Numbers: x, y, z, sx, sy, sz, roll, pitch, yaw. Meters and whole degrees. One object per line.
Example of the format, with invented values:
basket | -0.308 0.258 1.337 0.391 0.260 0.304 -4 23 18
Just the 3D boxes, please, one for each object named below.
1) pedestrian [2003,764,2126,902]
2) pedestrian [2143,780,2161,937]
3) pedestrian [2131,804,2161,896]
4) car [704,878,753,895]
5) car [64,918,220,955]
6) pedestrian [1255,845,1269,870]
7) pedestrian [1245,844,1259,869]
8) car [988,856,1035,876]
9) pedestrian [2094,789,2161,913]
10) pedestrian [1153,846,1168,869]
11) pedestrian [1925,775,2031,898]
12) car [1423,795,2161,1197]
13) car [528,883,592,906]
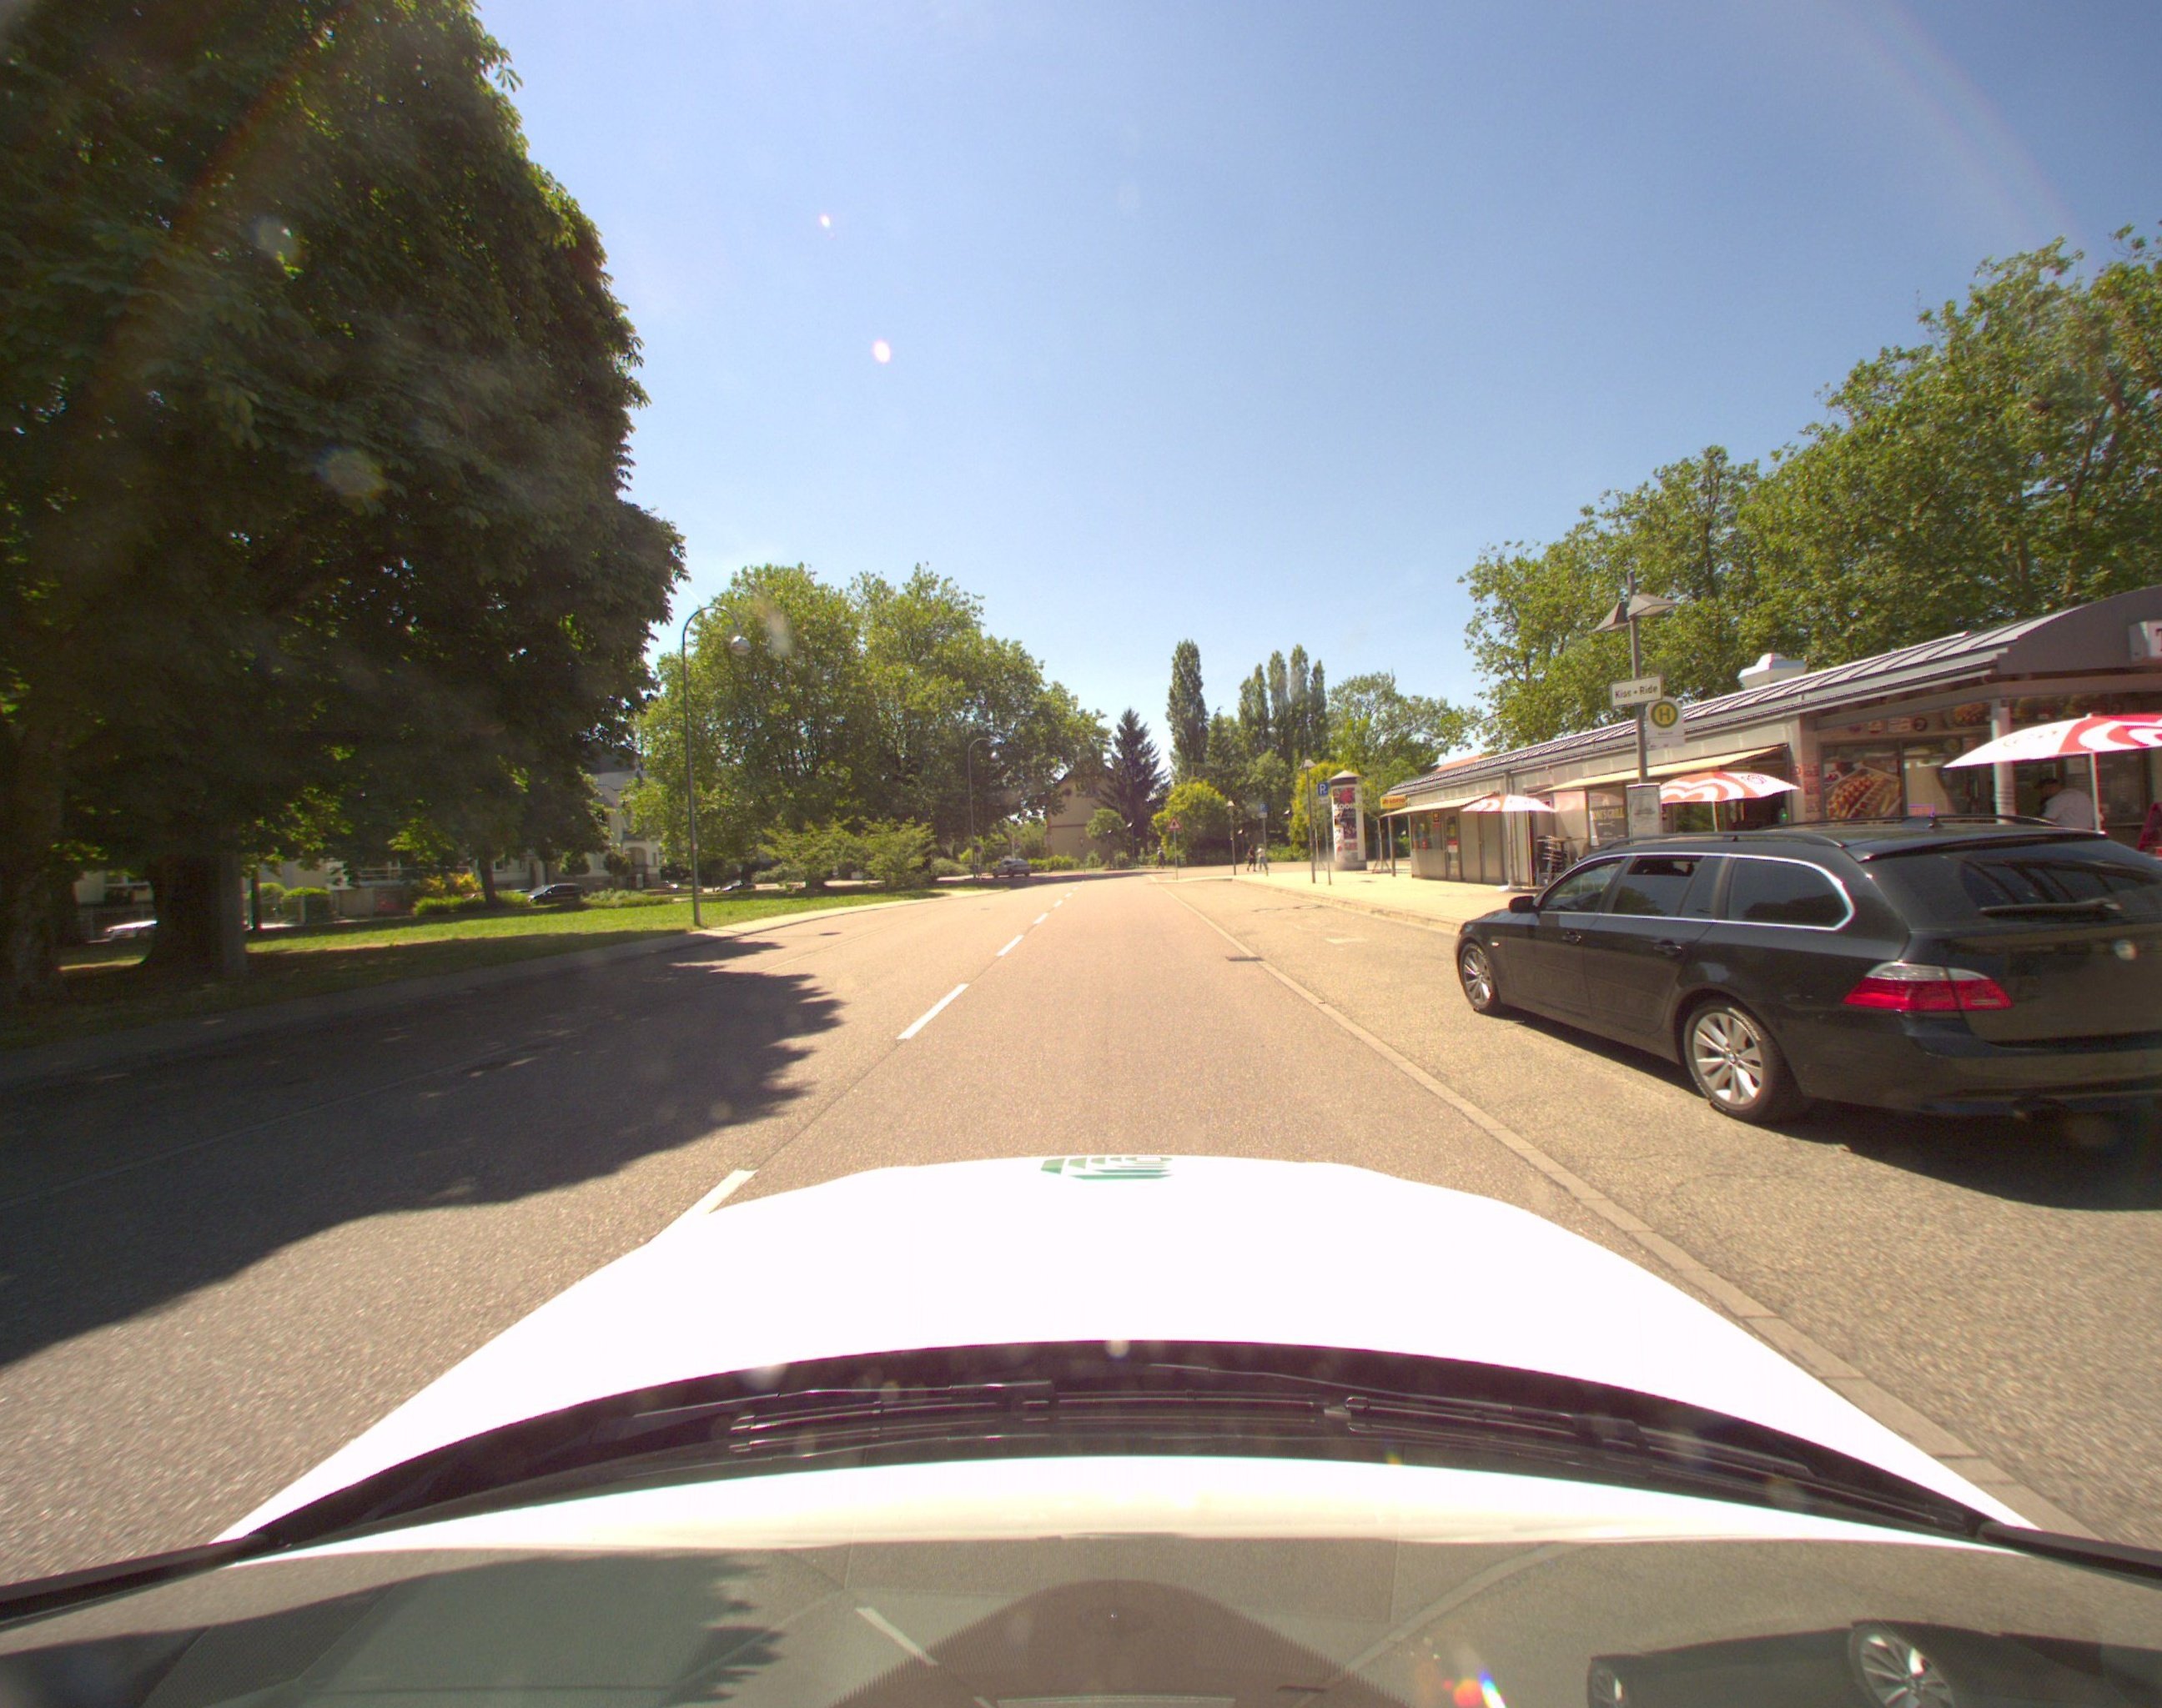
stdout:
pedestrian | 13.027 -0.269 10.814 0.683 1.737 0.707 -3 -1 2
pedestrian | 10.287 0.015 7.407 0.899 1.418 0.681 -3 -1 -36
pedestrian | 14.515 -0.058 10.691 0.652 1.205 0.592 -1 -1 1
car | -32.765 3.011 75.790 1.801 1.310 4.009 -3 0 20
car | -48.976 4.275 42.642 1.970 1.349 4.910 -3 0 19
pedestrian | 12.336 0.228 55.470 0.713 1.649 0.755 -3 -3 30
pedestrian | 11.370 0.160 54.238 0.629 1.649 0.755 -3 -3 30
car | -6.450 1.138 75.163 1.999 1.627 4.722 -3 0 -40
pedestrian | 11.799 -0.045 8.957 0.898 1.312 0.681 -3 -1 -33
pedestrian | 6.823 0.289 69.691 0.810 1.965 0.847 -3 -1 -38
pedestrian | 13.283 -0.254 12.082 0.683 1.737 0.707 -3 -1 2
car | 4.311 0.553 5.601 1.920 1.460 4.726 -6 0 1
car | -38.428 2.960 60.161 1.538 1.410 3.819 -3 0 17
